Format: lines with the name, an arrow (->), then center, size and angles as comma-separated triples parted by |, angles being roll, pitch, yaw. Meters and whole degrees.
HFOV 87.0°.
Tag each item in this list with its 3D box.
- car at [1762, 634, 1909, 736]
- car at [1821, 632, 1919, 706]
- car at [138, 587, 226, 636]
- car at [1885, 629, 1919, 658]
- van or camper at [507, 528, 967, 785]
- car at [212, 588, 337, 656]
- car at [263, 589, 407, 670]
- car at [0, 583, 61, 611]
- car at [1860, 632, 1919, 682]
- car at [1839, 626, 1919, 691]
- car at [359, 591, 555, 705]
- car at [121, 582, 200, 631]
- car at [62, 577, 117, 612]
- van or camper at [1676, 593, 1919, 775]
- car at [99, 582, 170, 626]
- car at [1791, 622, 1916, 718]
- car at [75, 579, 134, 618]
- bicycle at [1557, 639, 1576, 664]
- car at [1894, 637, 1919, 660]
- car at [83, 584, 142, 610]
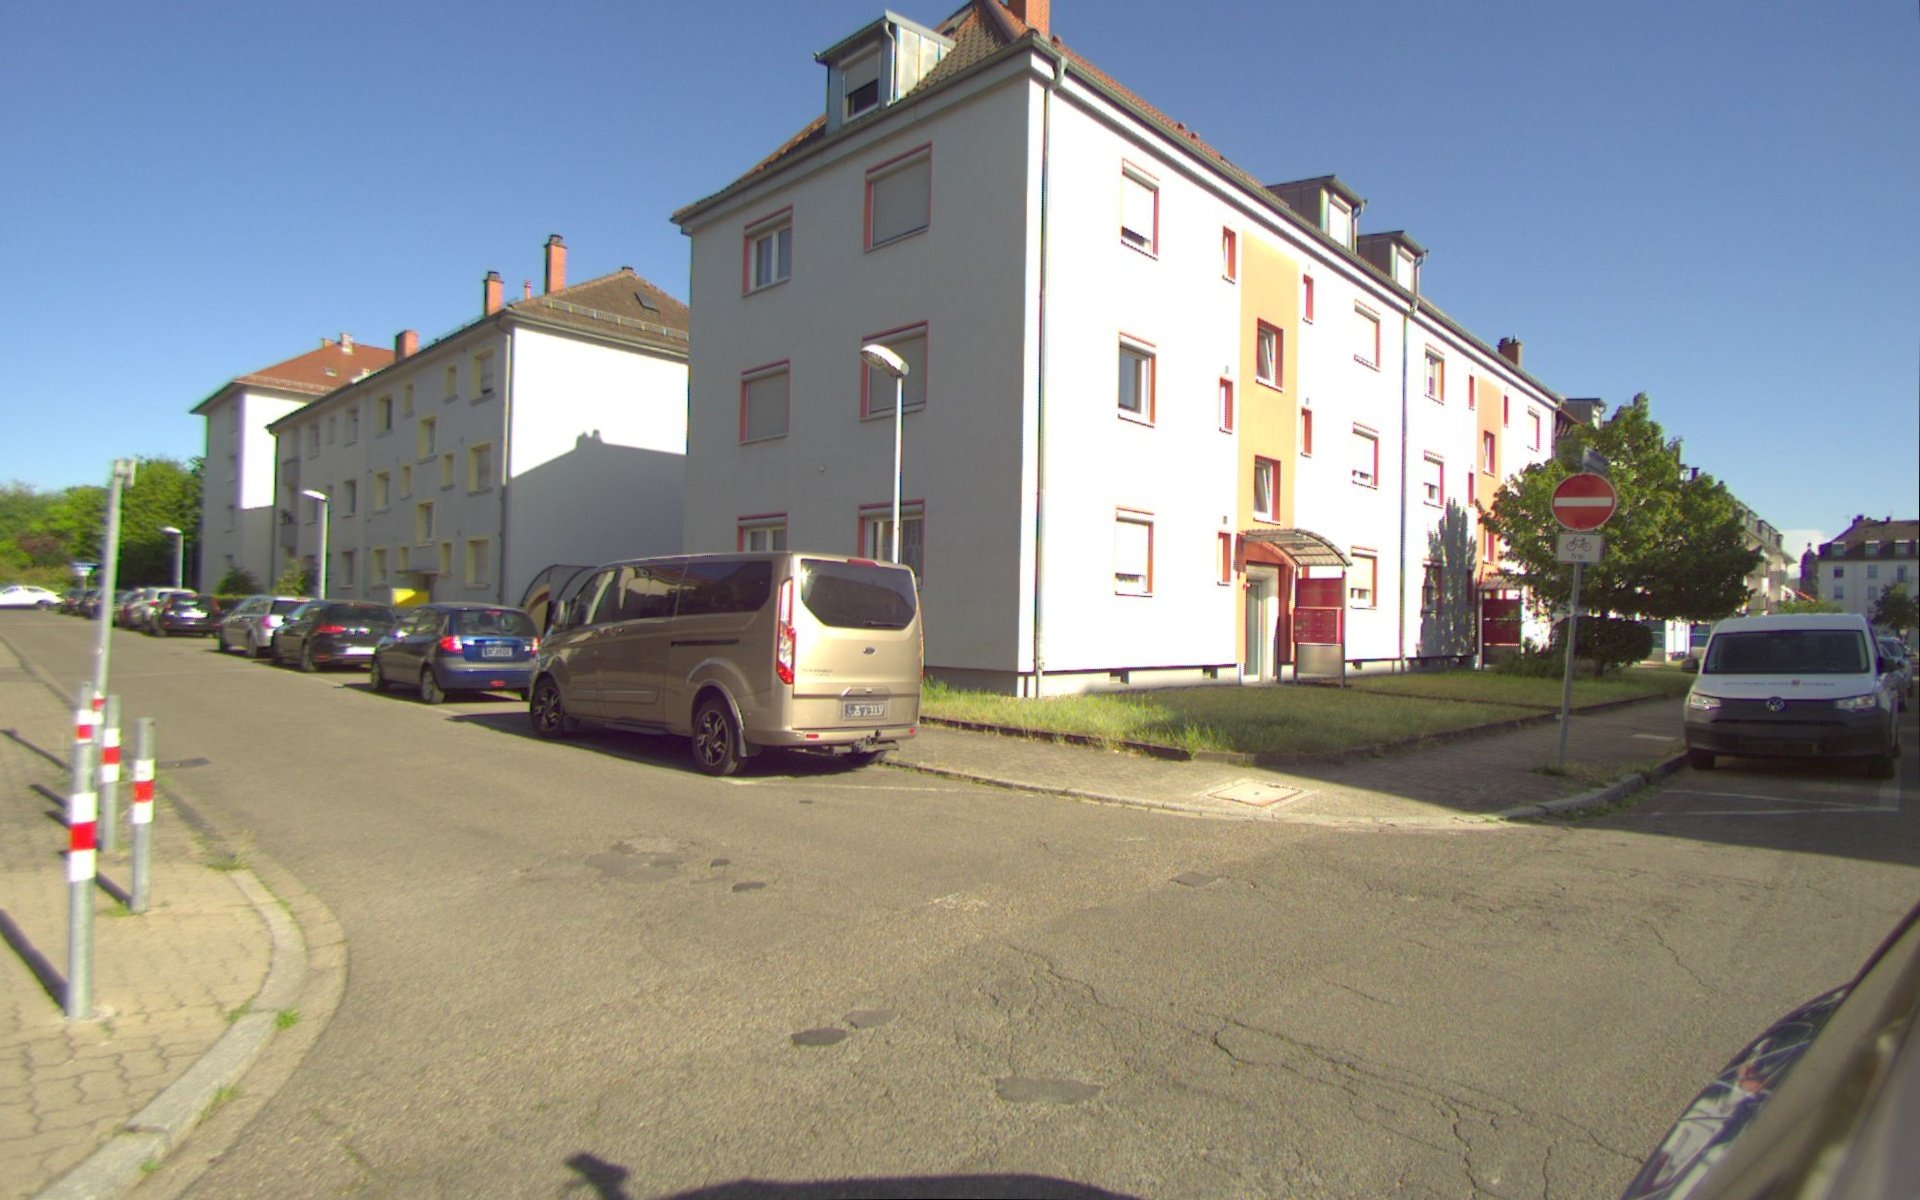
car -> 13.972, 1.265, 16.144 | 1.571, 1.436, 3.729 | -2, -3, 42
car -> 20.341, 1.512, 22.573 | 1.627, 1.469, 3.890 | 0, -2, 42
car -> -25.741, 0.361, 33.441 | 4.067, 1.474, 1.653 | 1, -3, 44
car -> 67.853, 3.126, 72.636 | 1.949, 1.924, 4.687 | 1, 0, 44
van or camper -> -2.521, 0.469, 10.507 | 5.119, 2.040, 1.969 | 1, -3, 41
car -> -16.657, 0.507, 24.510 | 4.067, 1.474, 1.653 | 1, -3, 44
car -> -12.863, 0.579, 20.758 | 3.474, 1.474, 1.653 | 1, -3, 44
car -> -62.000, -0.231, 66.513 | 1.995, 1.694, 4.232 | 3, 0, 44
car -> 33.809, 2.029, 36.587 | 1.727, 1.627, 4.353 | 1, -1, 44
car -> 26.522, 1.639, 29.110 | 1.773, 1.742, 4.241 | -3, -4, 41
car -> -7.910, 0.673, 15.791 | 3.474, 1.549, 1.653 | 1, -1, 44
car -> -29.071, 0.221, 36.777 | 4.067, 1.594, 1.653 | 1, -3, 44
car -> -46.094, -0.295, 53.562 | 4.230, 1.716, 1.712 | 1, -3, 44
van or camper -> 10.192, 0.938, 12.164 | 1.791, 1.771, 4.658 | -6, -6, 44
car -> -32.859, 0.131, 40.247 | 4.230, 1.594, 1.653 | 1, -3, 44
car -> 17.199, 1.293, 19.609 | 1.615, 1.570, 3.558 | 4, 1, 40
car -> -41.684, -0.086, 49.276 | 4.230, 1.716, 1.712 | 1, -3, 44
bicycle -> 24.260, 2.045, 40.485 | 1.261, 0.958, 0.319 | 2, 0, -44
car -> 71.878, 3.639, 76.537 | 1.705, 1.591, 4.658 | 1, 0, 44
car -> -58.308, -0.191, 69.639 | 1.388, 1.649, 2.896 | 3, 0, 43
